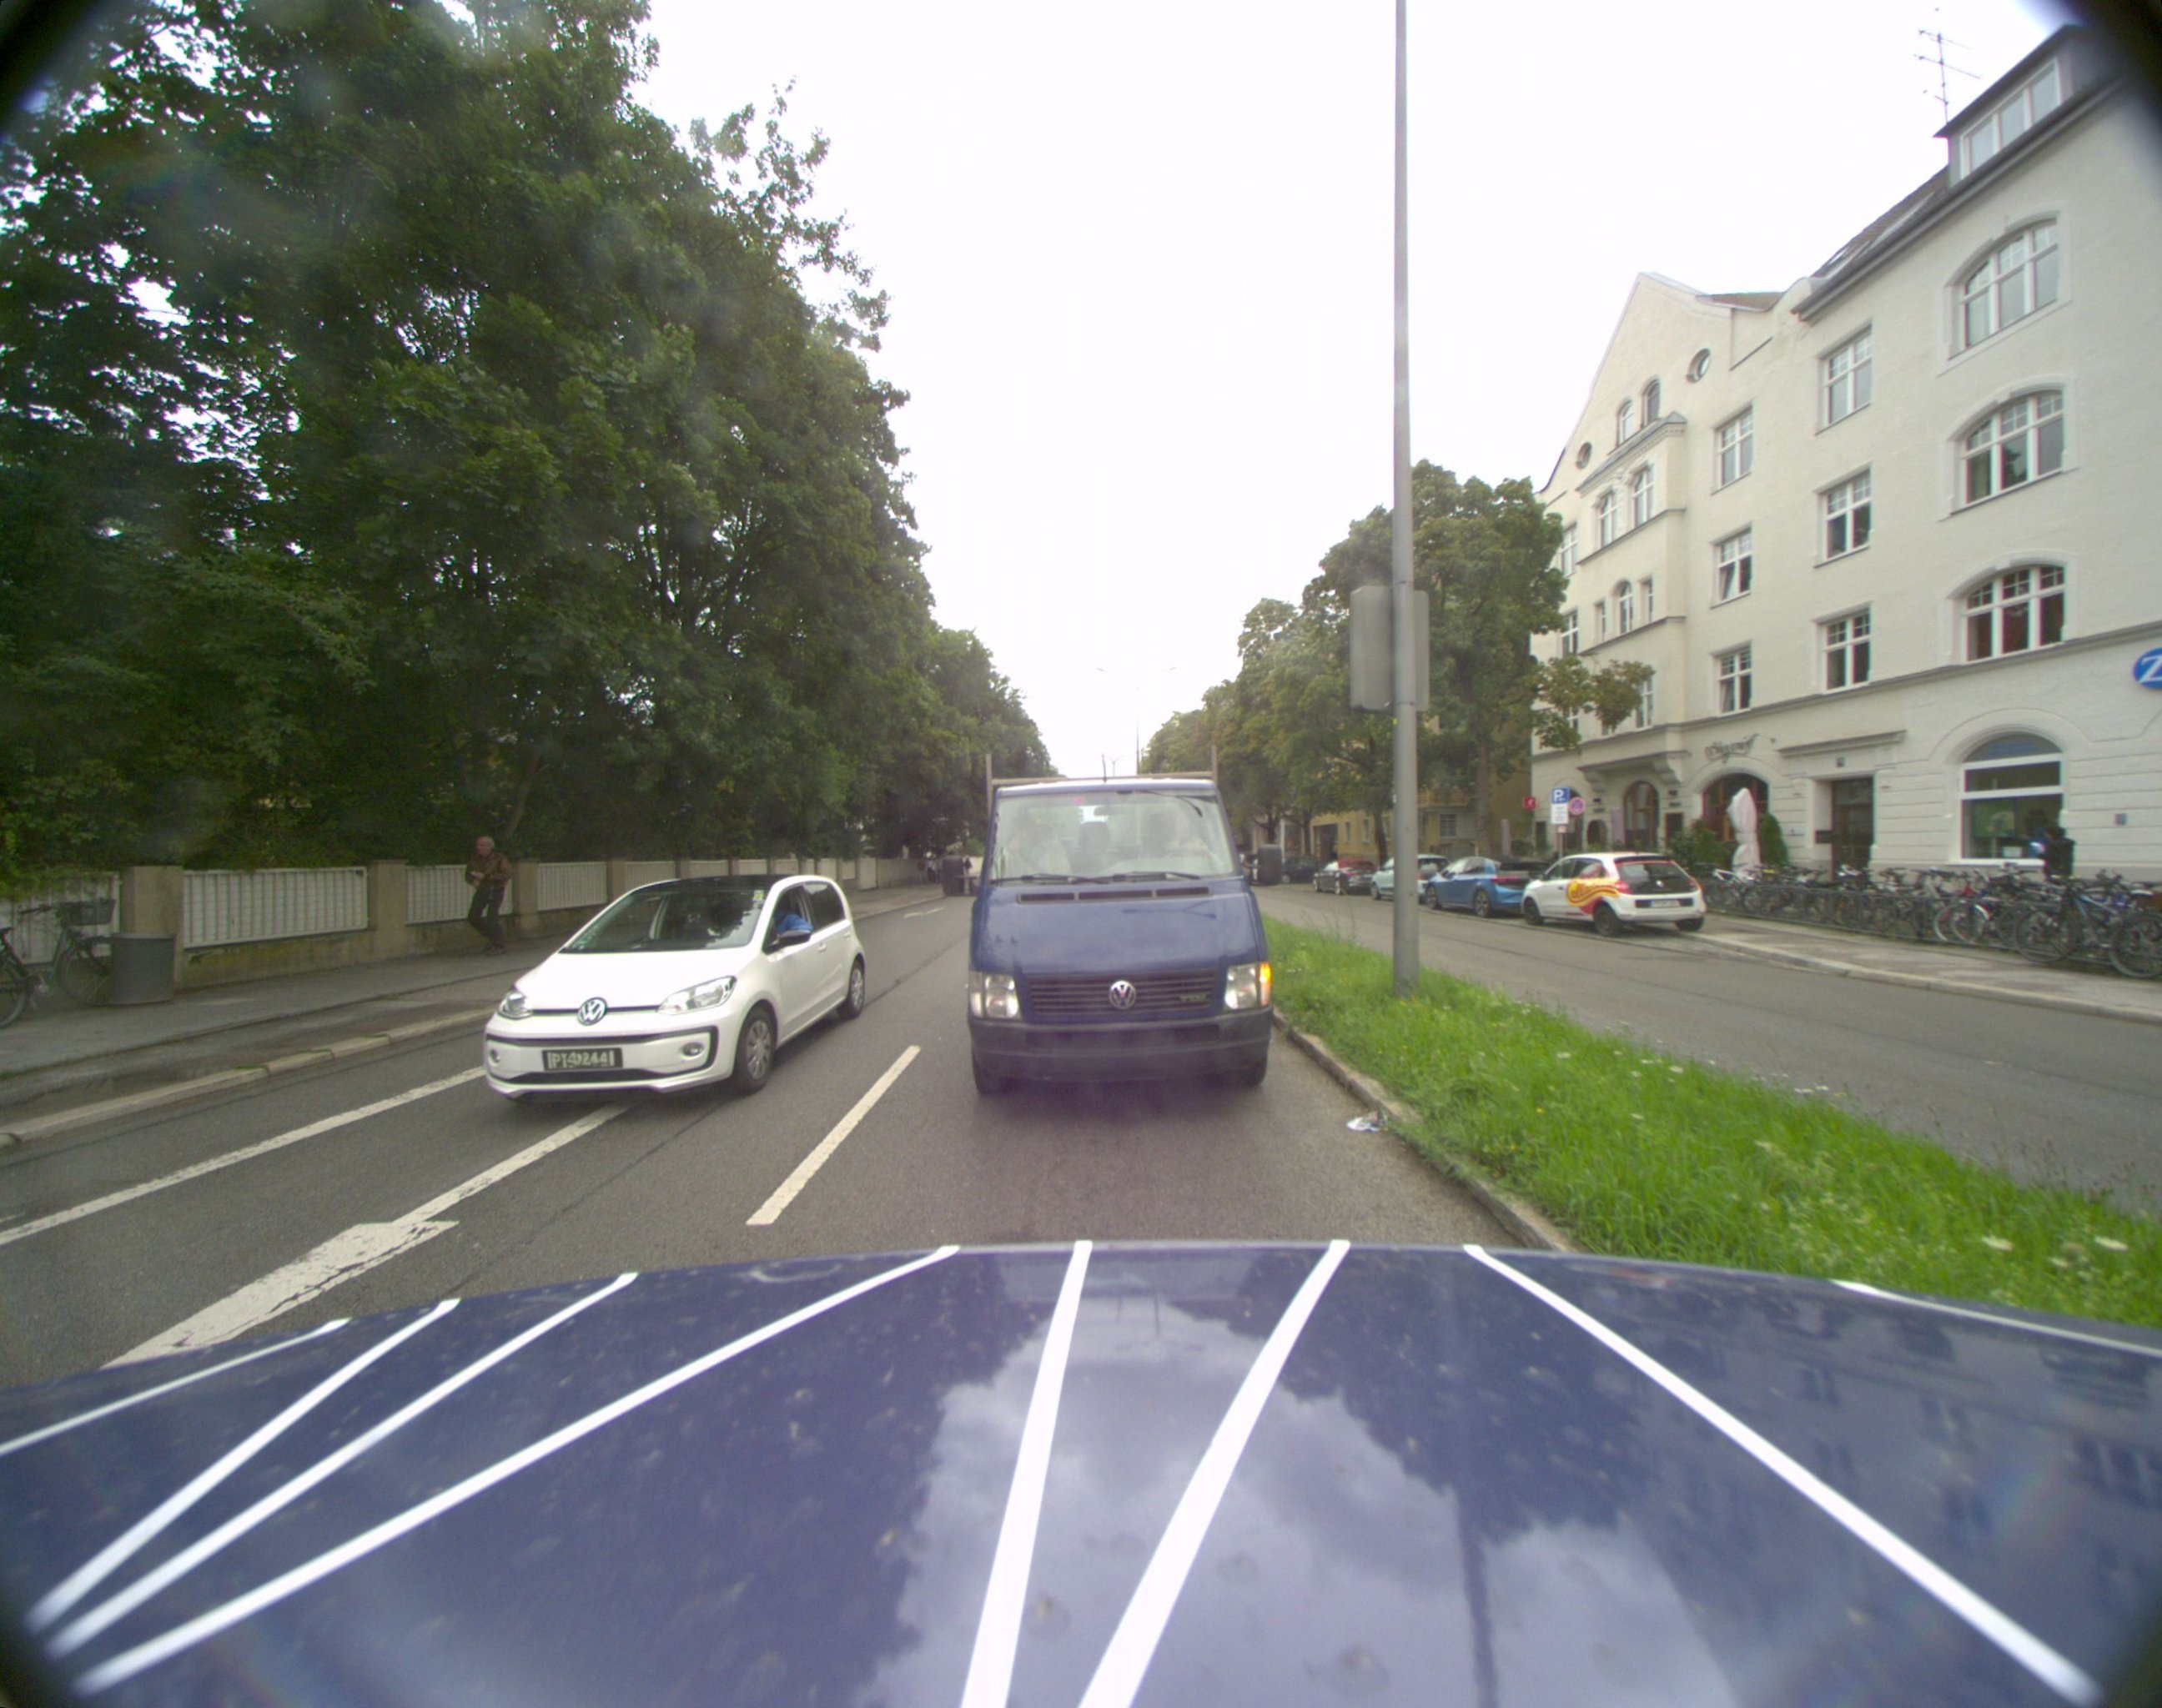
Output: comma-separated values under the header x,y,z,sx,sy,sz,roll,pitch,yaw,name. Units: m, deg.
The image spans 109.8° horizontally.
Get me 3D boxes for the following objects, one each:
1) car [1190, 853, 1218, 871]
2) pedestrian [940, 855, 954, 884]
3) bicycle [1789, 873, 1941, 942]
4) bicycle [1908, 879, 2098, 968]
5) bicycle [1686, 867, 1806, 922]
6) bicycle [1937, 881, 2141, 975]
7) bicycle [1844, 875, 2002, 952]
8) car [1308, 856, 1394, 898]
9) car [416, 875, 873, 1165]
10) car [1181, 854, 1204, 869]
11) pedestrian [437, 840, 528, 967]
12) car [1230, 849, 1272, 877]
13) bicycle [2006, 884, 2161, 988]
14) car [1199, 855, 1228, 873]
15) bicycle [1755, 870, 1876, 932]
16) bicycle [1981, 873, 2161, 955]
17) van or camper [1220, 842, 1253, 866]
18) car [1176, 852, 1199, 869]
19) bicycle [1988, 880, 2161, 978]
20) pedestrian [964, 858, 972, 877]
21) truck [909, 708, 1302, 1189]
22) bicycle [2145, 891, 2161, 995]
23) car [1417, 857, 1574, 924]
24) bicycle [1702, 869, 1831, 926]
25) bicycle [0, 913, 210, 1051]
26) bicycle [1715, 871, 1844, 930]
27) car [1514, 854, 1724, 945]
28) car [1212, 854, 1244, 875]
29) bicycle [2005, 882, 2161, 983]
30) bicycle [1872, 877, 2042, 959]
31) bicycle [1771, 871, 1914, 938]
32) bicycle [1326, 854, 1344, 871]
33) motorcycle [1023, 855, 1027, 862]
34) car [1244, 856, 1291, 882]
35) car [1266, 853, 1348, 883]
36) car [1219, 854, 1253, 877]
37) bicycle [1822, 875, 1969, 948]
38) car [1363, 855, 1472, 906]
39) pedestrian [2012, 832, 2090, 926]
x,y,z,sx,sy,sz,roll,pitch,yaw,name
11.272,0.703,69.867,1.883,1.636,4.770,-1,0,1,car
-7.819,0.903,44.380,0.668,1.695,0.766,1,1,0,pedestrian
13.815,0.908,13.464,0.331,1.109,1.871,-1,0,-23,bicycle
13.017,0.939,10.800,0.383,1.109,1.678,-1,0,-23,bicycle
14.701,0.863,16.860,0.460,1.109,1.961,-1,0,-31,bicycle
12.836,0.947,10.256,0.331,1.109,1.678,-1,0,-23,bicycle
13.440,0.907,12.192,0.331,1.109,1.678,-1,0,-23,bicycle
10.746,0.867,30.590,1.815,1.498,4.645,-1,0,1,car
-3.021,1.014,6.208,1.647,1.553,3.586,-1,0,0,car
11.095,0.752,75.715,1.696,1.446,4.492,-1,0,1,car
-9.381,0.754,11.936,0.779,1.931,0.802,0,1,1,pedestrian
11.243,0.555,50.540,1.815,1.718,4.767,-1,0,1,car
12.099,0.940,8.830,0.368,1.109,1.678,-1,0,-23,bicycle
11.153,0.811,64.173,1.731,1.398,4.363,-1,0,1,car
14.205,0.874,14.745,0.331,1.109,1.677,-1,0,-27,bicycle
14.764,0.852,11.359,0.331,1.109,1.678,-1,0,-23,bicycle
17.263,-0.011,84.833,2.351,2.564,6.851,-1,0,1,van or camper
11.330,0.663,80.900,1.878,1.677,4.438,-1,0,1,car
12.679,0.909,9.511,0.367,1.109,1.678,-1,0,-23,bicycle
-9.097,1.082,61.210,0.529,1.572,0.729,1,1,0,pedestrian
0.168,0.493,6.519,1.998,2.475,5.151,-1,0,1,truck
12.091,0.966,7.584,0.331,1.109,1.678,-1,0,-23,bicycle
10.704,0.866,20.011,1.815,1.498,4.291,-1,0,1,car
14.539,0.894,16.180,0.505,1.109,1.984,-1,0,-31,bicycle
-9.853,1.198,7.290,0.624,1.084,2.026,-1,0,0,bicycle
14.251,0.919,15.563,0.550,1.109,1.877,-1,0,-31,bicycle
10.567,0.801,15.302,1.653,1.576,3.790,-1,0,2,car
11.339,0.760,58.977,1.731,1.552,4.057,-1,0,1,car
12.412,0.922,9.105,0.331,1.109,1.678,-1,0,-23,bicycle
13.210,0.922,11.526,0.331,1.109,1.678,-1,0,-23,bicycle
14.001,0.891,14.043,0.331,1.109,1.871,-1,0,-23,bicycle
19.325,0.641,57.883,0.771,1.215,1.930,-1,0,0,bicycle
-8.923,0.771,121.522,0.497,1.135,1.631,-1,0,-10,motorcycle
10.952,0.840,44.959,1.731,1.394,4.404,-1,0,1,car
12.278,0.745,41.415,3.899,1.455,1.732,-2,0,-1,car
11.180,0.817,55.023,1.731,1.549,3.009,-1,0,-1,car
13.646,0.921,12.788,0.331,1.109,1.678,-1,0,-23,bicycle
10.861,0.807,24.833,1.815,1.498,3.960,-1,0,1,car
17.292,0.439,13.564,0.422,1.622,0.783,-1,1,7,pedestrian
